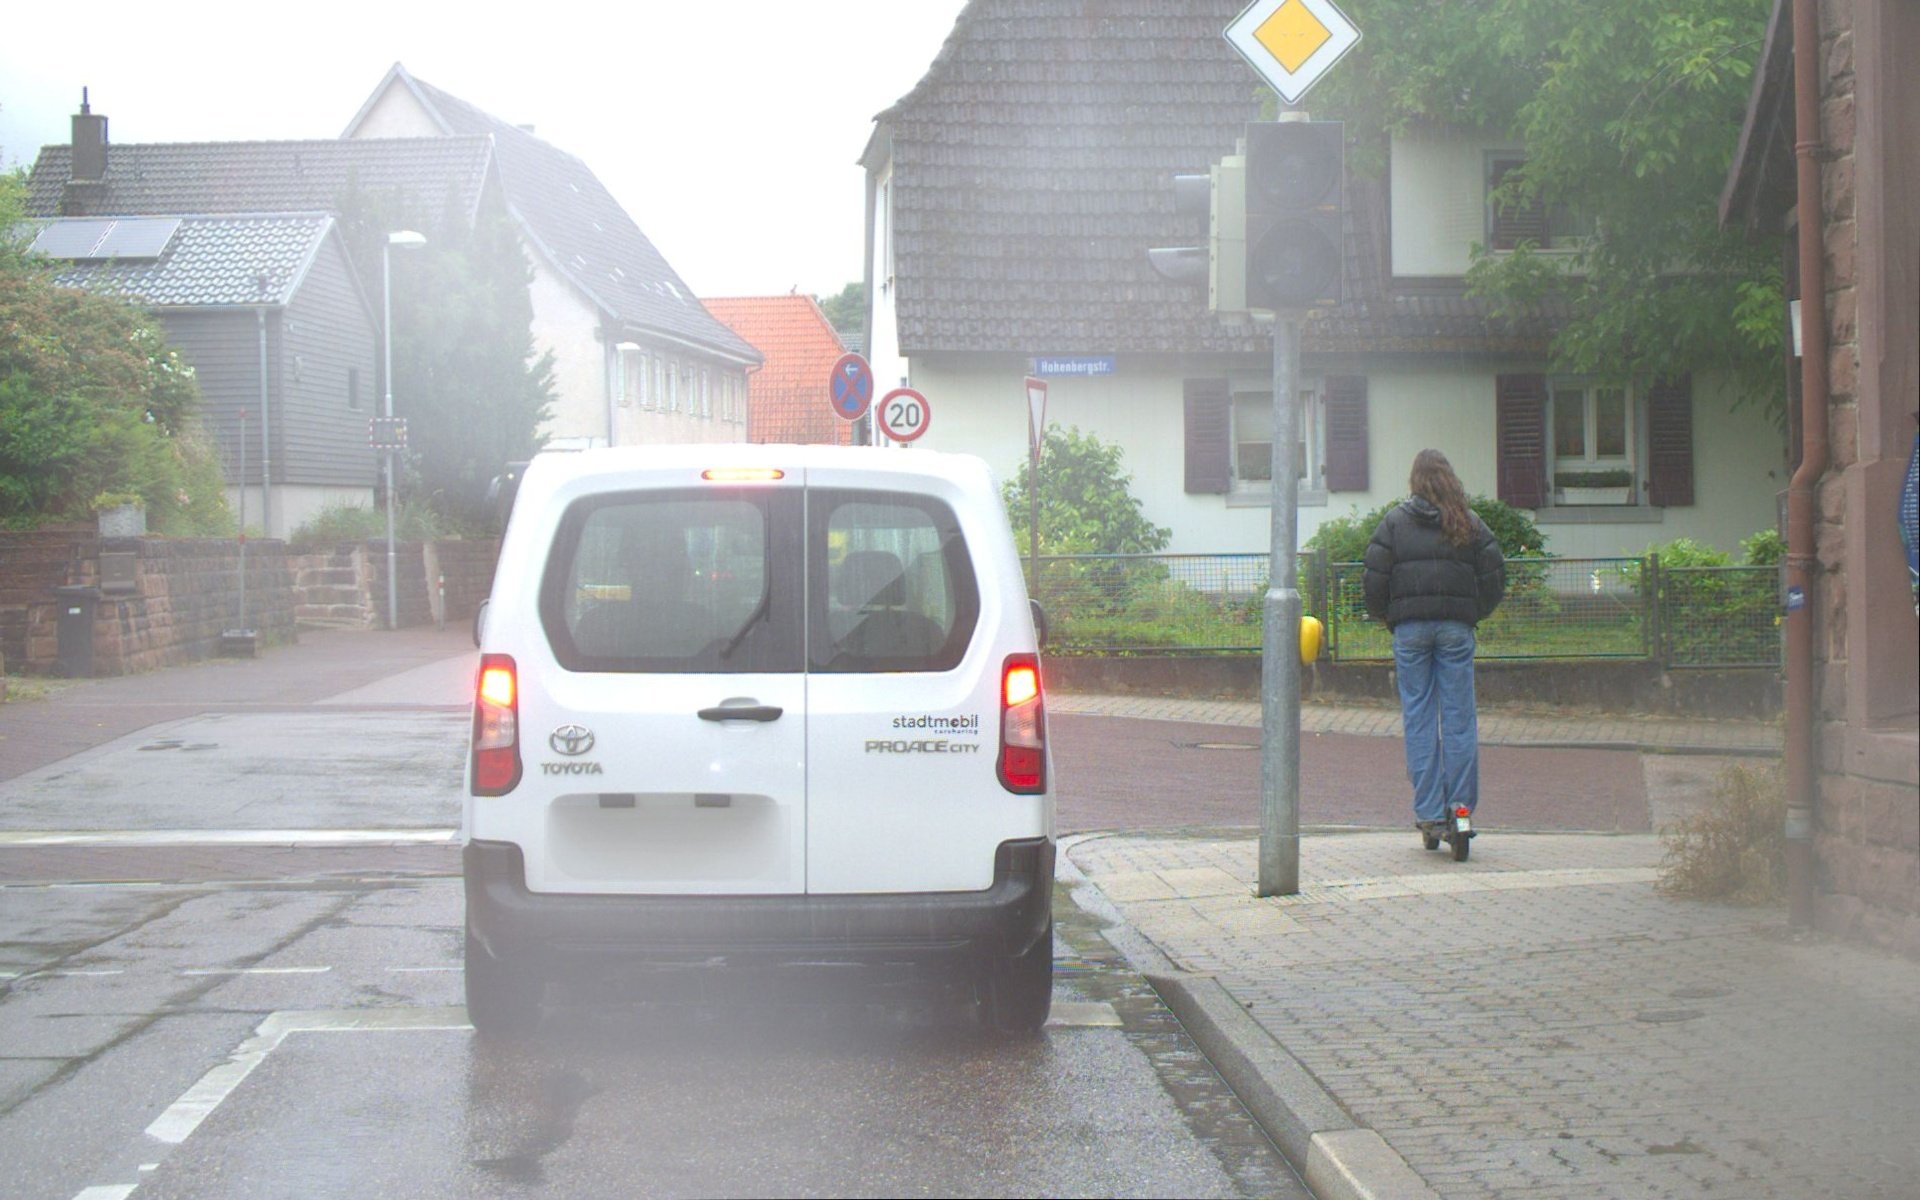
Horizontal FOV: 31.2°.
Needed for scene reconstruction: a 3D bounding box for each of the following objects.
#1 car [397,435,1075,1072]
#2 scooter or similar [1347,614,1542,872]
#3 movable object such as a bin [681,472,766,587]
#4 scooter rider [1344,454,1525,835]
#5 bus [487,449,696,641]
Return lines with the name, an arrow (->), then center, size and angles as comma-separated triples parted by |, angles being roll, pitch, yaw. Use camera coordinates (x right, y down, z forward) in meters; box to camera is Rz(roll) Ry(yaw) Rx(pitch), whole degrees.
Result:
car -> -0.737, 0.399, 11.635 | 1.894, 1.787, 3.814 | 1, 1, -3
scooter or similar -> 2.201, 0.627, 15.754 | 0.620, 1.123, 1.402 | 0, 0, -3
movable object such as a bin -> -5.587, -1.676, 81.501 | 1.727, 2.644, 3.974 | 1, 1, 0
scooter rider -> 2.185, 0.201, 15.871 | 0.731, 1.727, 0.518 | 0, 0, -3
bus -> -6.250, -1.126, 60.042 | 2.649, 2.989, 12.195 | 0, 3, -1
